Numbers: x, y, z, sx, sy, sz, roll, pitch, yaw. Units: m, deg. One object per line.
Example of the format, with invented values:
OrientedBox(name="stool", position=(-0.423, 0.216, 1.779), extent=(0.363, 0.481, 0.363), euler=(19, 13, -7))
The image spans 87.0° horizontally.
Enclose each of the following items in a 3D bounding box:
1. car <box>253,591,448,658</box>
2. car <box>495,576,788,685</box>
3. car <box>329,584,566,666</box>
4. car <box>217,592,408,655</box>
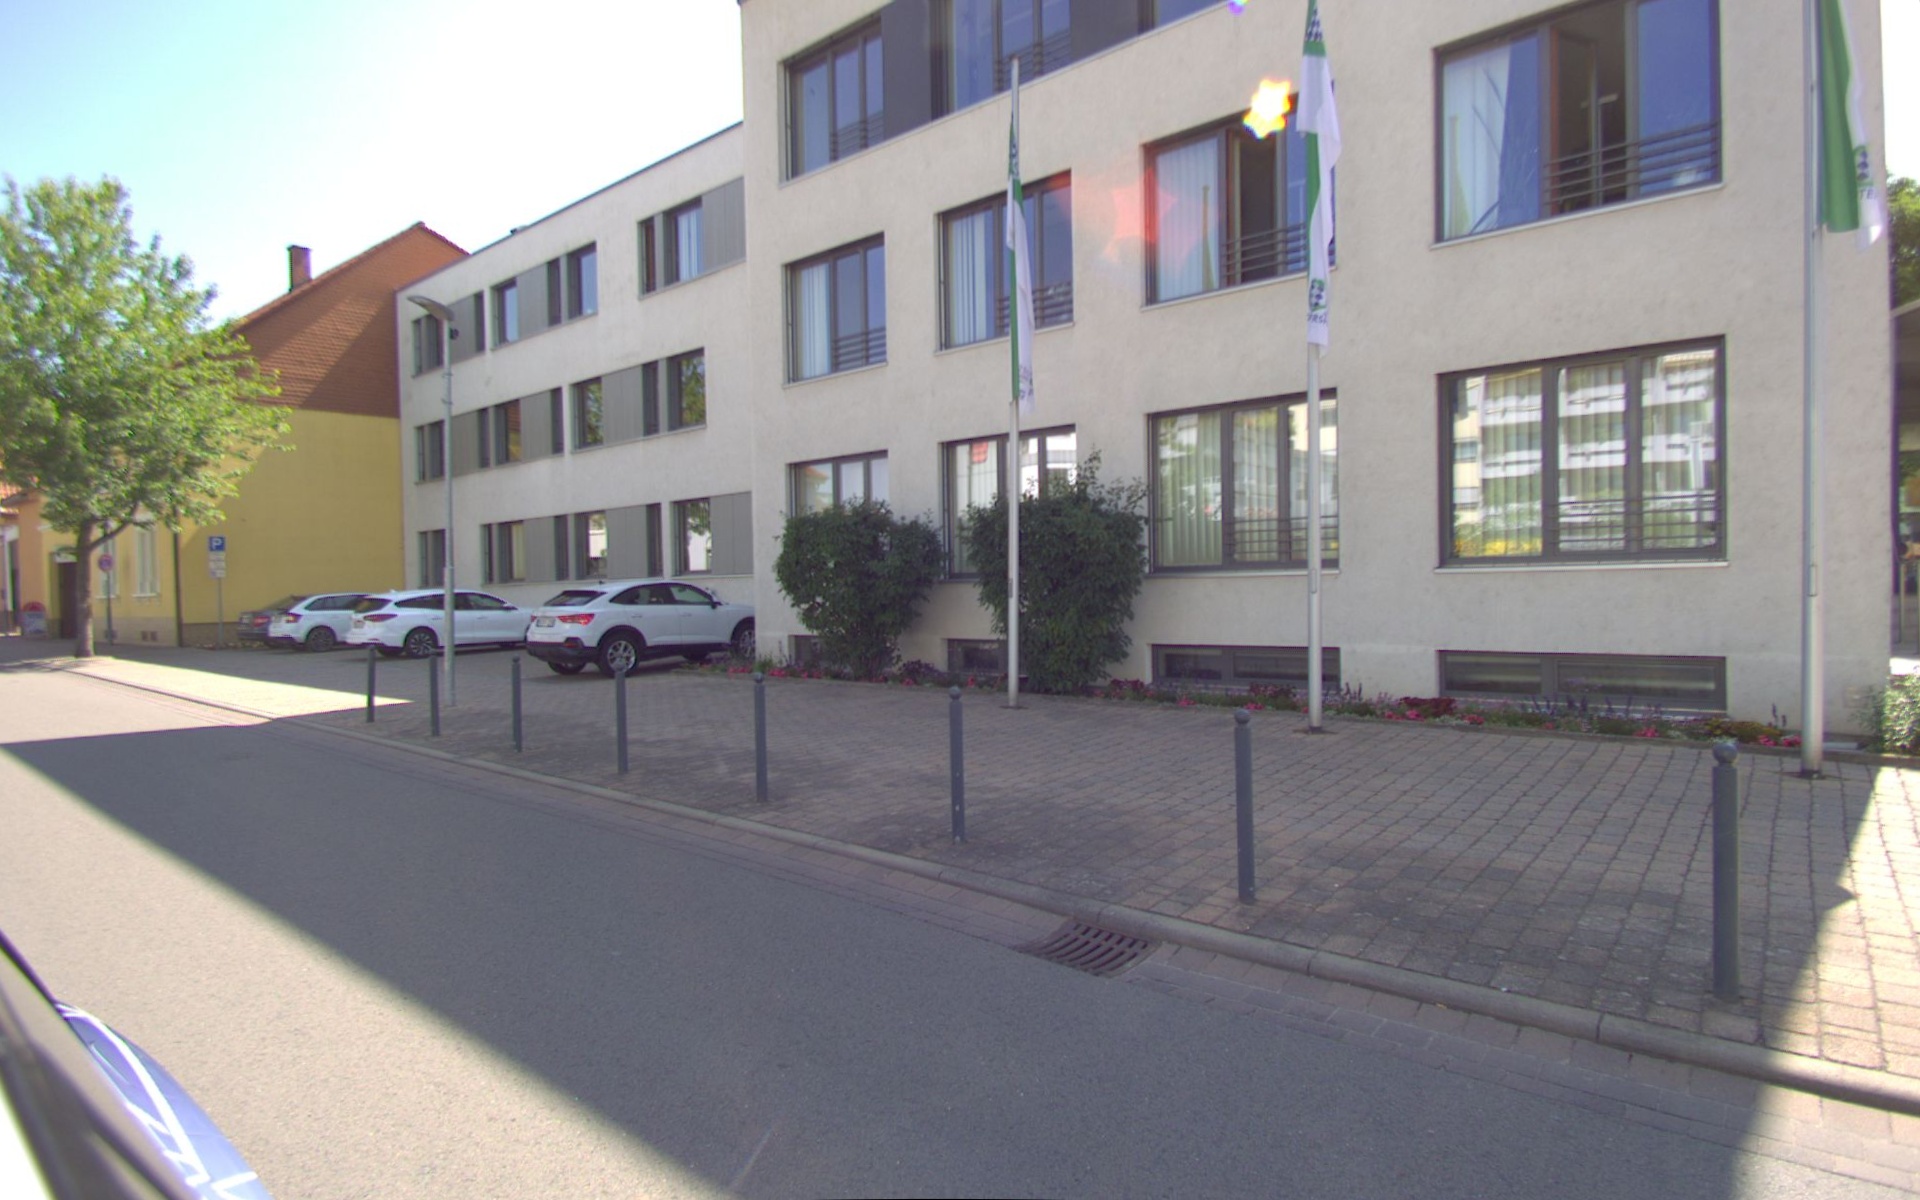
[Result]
OrientedBox(name="car", position=(-15.735, 0.589, 26.279), extent=(1.806, 1.462, 3.947), euler=(-1, 1, 40))
OrientedBox(name="car", position=(-5.441, 0.425, 17.797), extent=(2.145, 1.565, 4.463), euler=(-1, 2, 38))
OrientedBox(name="car", position=(-11.663, 0.490, 23.285), extent=(1.933, 1.565, 4.459), euler=(1, 3, 40))
OrientedBox(name="car", position=(-17.688, 0.607, 27.794), extent=(1.968, 1.442, 3.952), euler=(-2, 1, 36))
